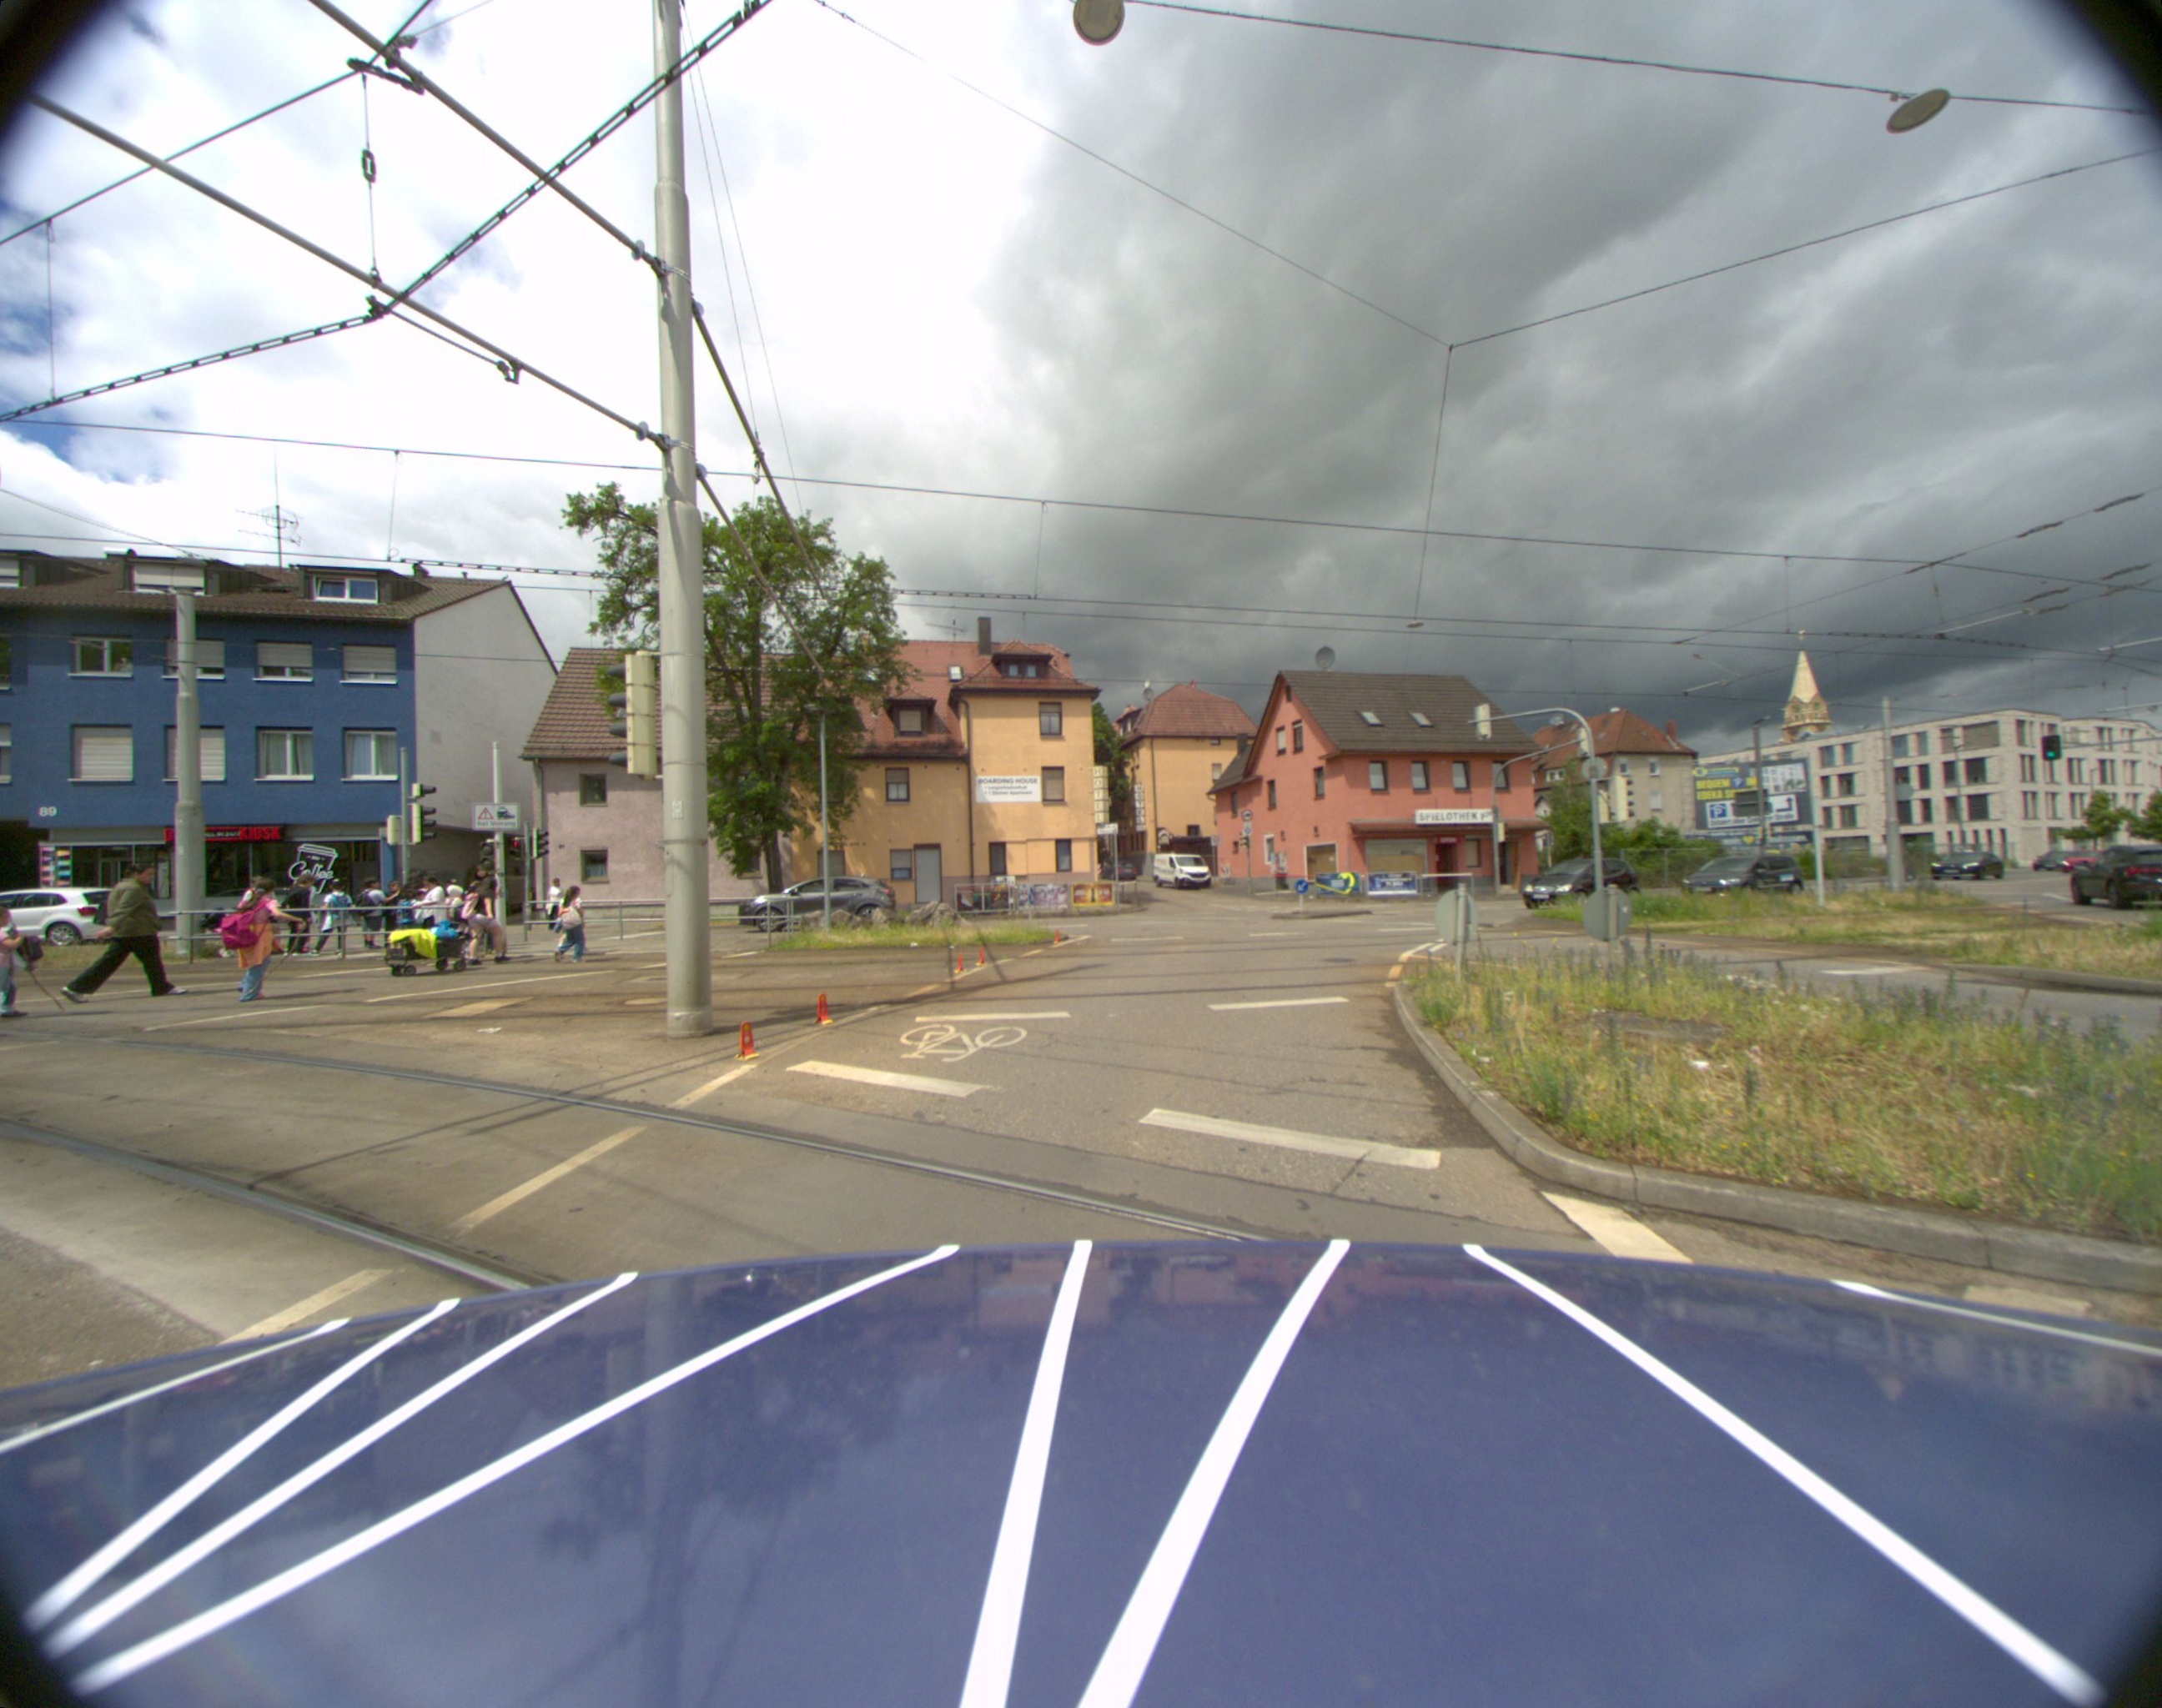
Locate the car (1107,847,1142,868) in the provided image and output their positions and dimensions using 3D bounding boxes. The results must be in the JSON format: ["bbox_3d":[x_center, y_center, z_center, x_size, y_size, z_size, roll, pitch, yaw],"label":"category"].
[{"bbox_3d":[3.053,0.256,54.355,1.563,1.362,3.129,-2,-1,-14],"label":"car"}]

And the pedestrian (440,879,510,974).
[{"bbox_3d":[-10.142,1.189,12.734,0.586,1.518,0.676,-1,1,9],"label":"pedestrian"}]

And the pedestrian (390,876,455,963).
[{"bbox_3d":[-12.294,1.205,14.204,0.675,1.556,0.587,-1,1,-7],"label":"pedestrian"}]

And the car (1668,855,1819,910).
[{"bbox_3d":[23.333,0.981,26.778,4.423,1.639,1.997,-2,-1,-19],"label":"car"}]

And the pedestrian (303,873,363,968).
[{"bbox_3d":[-14.223,1.239,14.465,0.754,1.740,0.586,-2,1,-43],"label":"pedestrian"}]

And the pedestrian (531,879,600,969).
[{"bbox_3d":[-8.809,1.175,13.011,0.540,1.461,0.780,-1,1,15],"label":"pedestrian"}]

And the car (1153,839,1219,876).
[{"bbox_3d":[5.941,0.196,43.616,2.082,1.886,4.656,-3,1,-14],"label":"car"}]

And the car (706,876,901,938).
[{"bbox_3d":[-7.548,1.418,21.183,4.857,1.362,1.918,-2,-1,-14],"label":"car"}]

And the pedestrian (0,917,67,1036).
[{"bbox_3d":[-11.289,1.283,7.965,0.676,1.160,0.586,-2,1,-43],"label":"pedestrian"}]

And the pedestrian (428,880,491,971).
[{"bbox_3d":[-10.745,1.209,13.139,0.586,1.483,0.677,0,1,33],"label":"pedestrian"}]

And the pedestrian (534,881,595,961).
[{"bbox_3d":[-9.369,1.194,13.790,0.586,1.392,0.676,-1,1,26],"label":"pedestrian"}]

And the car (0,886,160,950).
[{"bbox_3d":[-27.284,1.656,19.764,4.001,1.522,1.711,-1,-1,-13],"label":"car"}]

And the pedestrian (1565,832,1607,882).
[{"bbox_3d":[22.311,0.141,33.602,1.129,2.135,1.051,-1,1,-10],"label":"pedestrian"}]

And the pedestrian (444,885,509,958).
[{"bbox_3d":[-11.900,1.314,14.980,0.780,1.367,0.587,-1,1,-1],"label":"pedestrian"}]

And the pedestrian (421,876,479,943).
[{"bbox_3d":[-13.361,1.158,16.103,0.675,1.367,0.634,-1,1,-8],"label":"pedestrian"}]

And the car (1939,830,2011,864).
[{"bbox_3d":[48.438,-0.388,41.152,4.007,1.661,1.996,-2,-1,-34],"label":"car"}]

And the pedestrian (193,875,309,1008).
[{"bbox_3d":[-9.906,1.001,9.109,0.856,1.473,0.740,-2,1,-43],"label":"pedestrian"}]

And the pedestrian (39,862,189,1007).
[{"bbox_3d":[-11.695,0.930,9.212,0.824,1.642,0.893,-1,1,22],"label":"pedestrian"}]

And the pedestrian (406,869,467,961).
[{"bbox_3d":[-12.628,1.174,14.902,0.675,1.740,0.587,-1,1,-7],"label":"pedestrian"}]

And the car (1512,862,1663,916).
[{"bbox_3d":[15.896,1.062,23.888,4.003,1.420,1.881,-2,-1,-20],"label":"car"}]

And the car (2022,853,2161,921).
[{"bbox_3d":[27.415,0.813,19.850,1.948,1.560,4.496,2,2,29],"label":"car"}]

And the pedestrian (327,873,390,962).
[{"bbox_3d":[-14.621,1.275,15.392,0.675,1.740,0.587,-1,1,-7],"label":"pedestrian"}]

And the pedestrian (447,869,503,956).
[{"bbox_3d":[-12.415,1.179,15.582,0.675,1.740,0.587,-1,1,-7],"label":"pedestrian"}]
